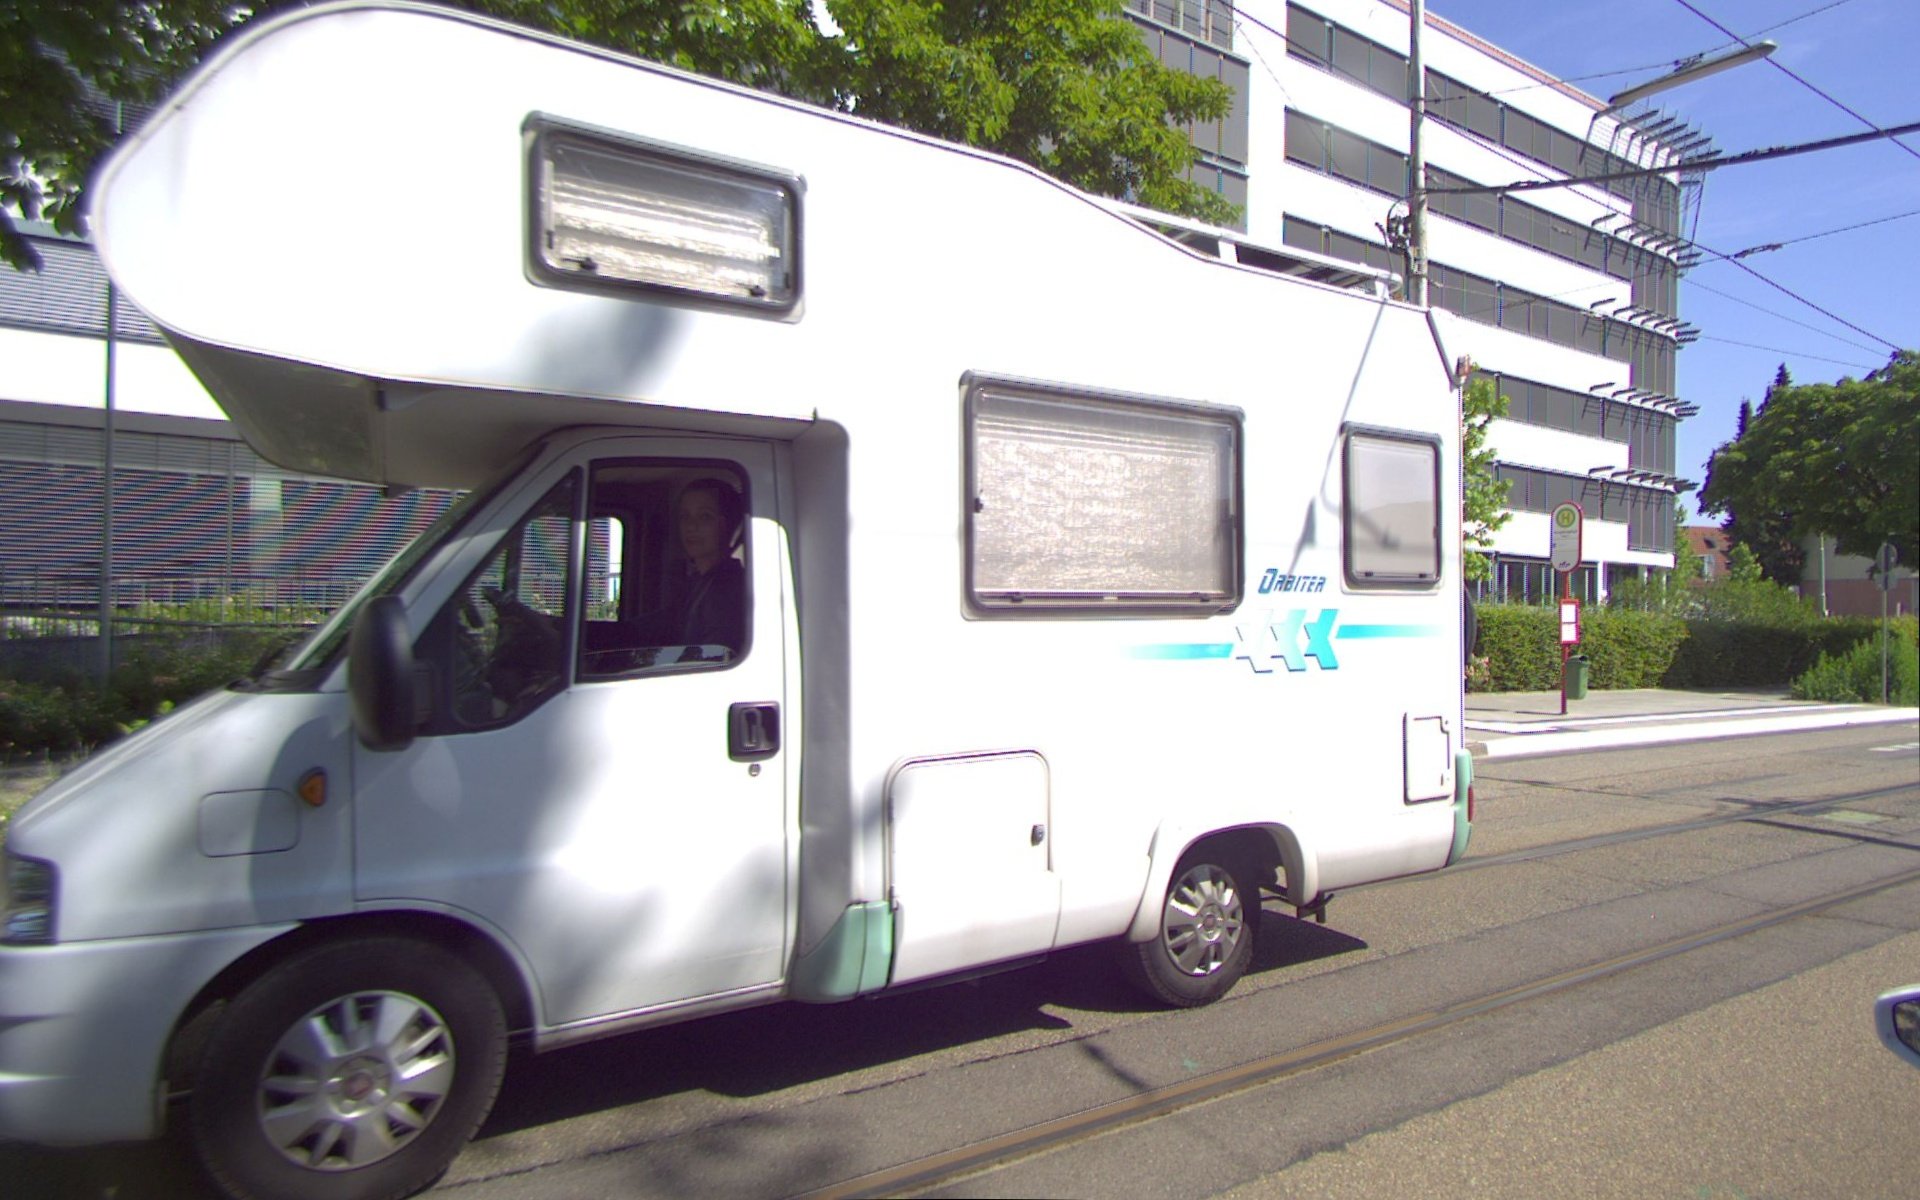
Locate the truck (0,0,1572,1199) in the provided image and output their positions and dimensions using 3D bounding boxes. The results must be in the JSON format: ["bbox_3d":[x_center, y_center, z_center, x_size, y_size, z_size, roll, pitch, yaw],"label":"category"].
[{"bbox_3d":[-0.321,0.012,4.213,5.966,3.149,2.391,2,-2,-30],"label":"truck"}]

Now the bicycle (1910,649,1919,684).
[{"bbox_3d":[31.931,2.175,32.922,2.043,1.132,0.633,2,-2,-31],"label":"bicycle"}]
